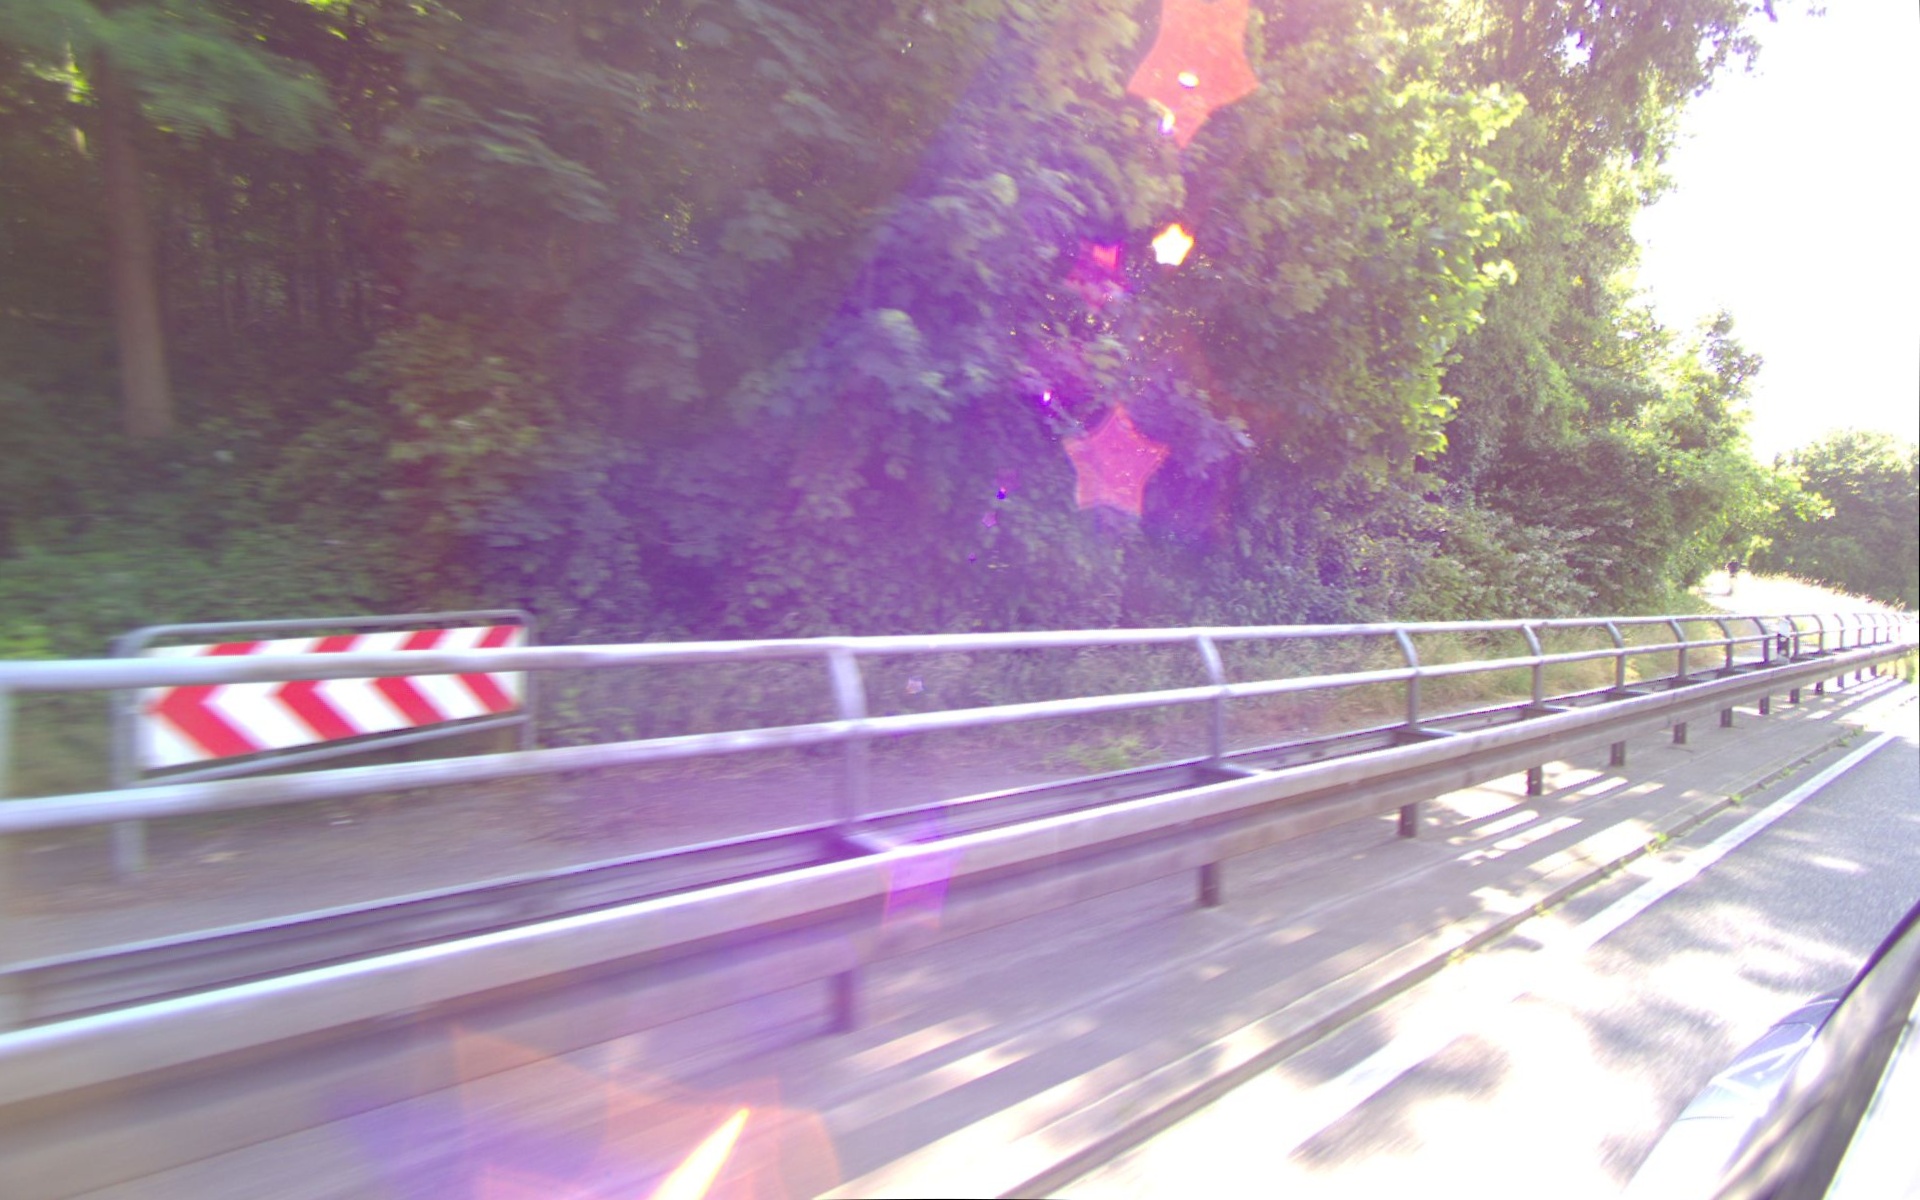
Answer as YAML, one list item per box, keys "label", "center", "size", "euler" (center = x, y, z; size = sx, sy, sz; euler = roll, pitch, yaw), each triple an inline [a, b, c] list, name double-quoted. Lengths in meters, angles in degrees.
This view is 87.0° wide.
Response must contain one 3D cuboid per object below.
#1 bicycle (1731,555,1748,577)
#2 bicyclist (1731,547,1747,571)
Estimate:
- label: "bicycle"
  center: [48.860, -2.133, 63.440]
  size: [0.770, 1.335, 1.703]
  euler: [0, -1, 39]
- label: "bicyclist"
  center: [48.867, -2.578, 63.460]
  size: [0.770, 1.442, 0.805]
  euler: [0, -1, 40]
